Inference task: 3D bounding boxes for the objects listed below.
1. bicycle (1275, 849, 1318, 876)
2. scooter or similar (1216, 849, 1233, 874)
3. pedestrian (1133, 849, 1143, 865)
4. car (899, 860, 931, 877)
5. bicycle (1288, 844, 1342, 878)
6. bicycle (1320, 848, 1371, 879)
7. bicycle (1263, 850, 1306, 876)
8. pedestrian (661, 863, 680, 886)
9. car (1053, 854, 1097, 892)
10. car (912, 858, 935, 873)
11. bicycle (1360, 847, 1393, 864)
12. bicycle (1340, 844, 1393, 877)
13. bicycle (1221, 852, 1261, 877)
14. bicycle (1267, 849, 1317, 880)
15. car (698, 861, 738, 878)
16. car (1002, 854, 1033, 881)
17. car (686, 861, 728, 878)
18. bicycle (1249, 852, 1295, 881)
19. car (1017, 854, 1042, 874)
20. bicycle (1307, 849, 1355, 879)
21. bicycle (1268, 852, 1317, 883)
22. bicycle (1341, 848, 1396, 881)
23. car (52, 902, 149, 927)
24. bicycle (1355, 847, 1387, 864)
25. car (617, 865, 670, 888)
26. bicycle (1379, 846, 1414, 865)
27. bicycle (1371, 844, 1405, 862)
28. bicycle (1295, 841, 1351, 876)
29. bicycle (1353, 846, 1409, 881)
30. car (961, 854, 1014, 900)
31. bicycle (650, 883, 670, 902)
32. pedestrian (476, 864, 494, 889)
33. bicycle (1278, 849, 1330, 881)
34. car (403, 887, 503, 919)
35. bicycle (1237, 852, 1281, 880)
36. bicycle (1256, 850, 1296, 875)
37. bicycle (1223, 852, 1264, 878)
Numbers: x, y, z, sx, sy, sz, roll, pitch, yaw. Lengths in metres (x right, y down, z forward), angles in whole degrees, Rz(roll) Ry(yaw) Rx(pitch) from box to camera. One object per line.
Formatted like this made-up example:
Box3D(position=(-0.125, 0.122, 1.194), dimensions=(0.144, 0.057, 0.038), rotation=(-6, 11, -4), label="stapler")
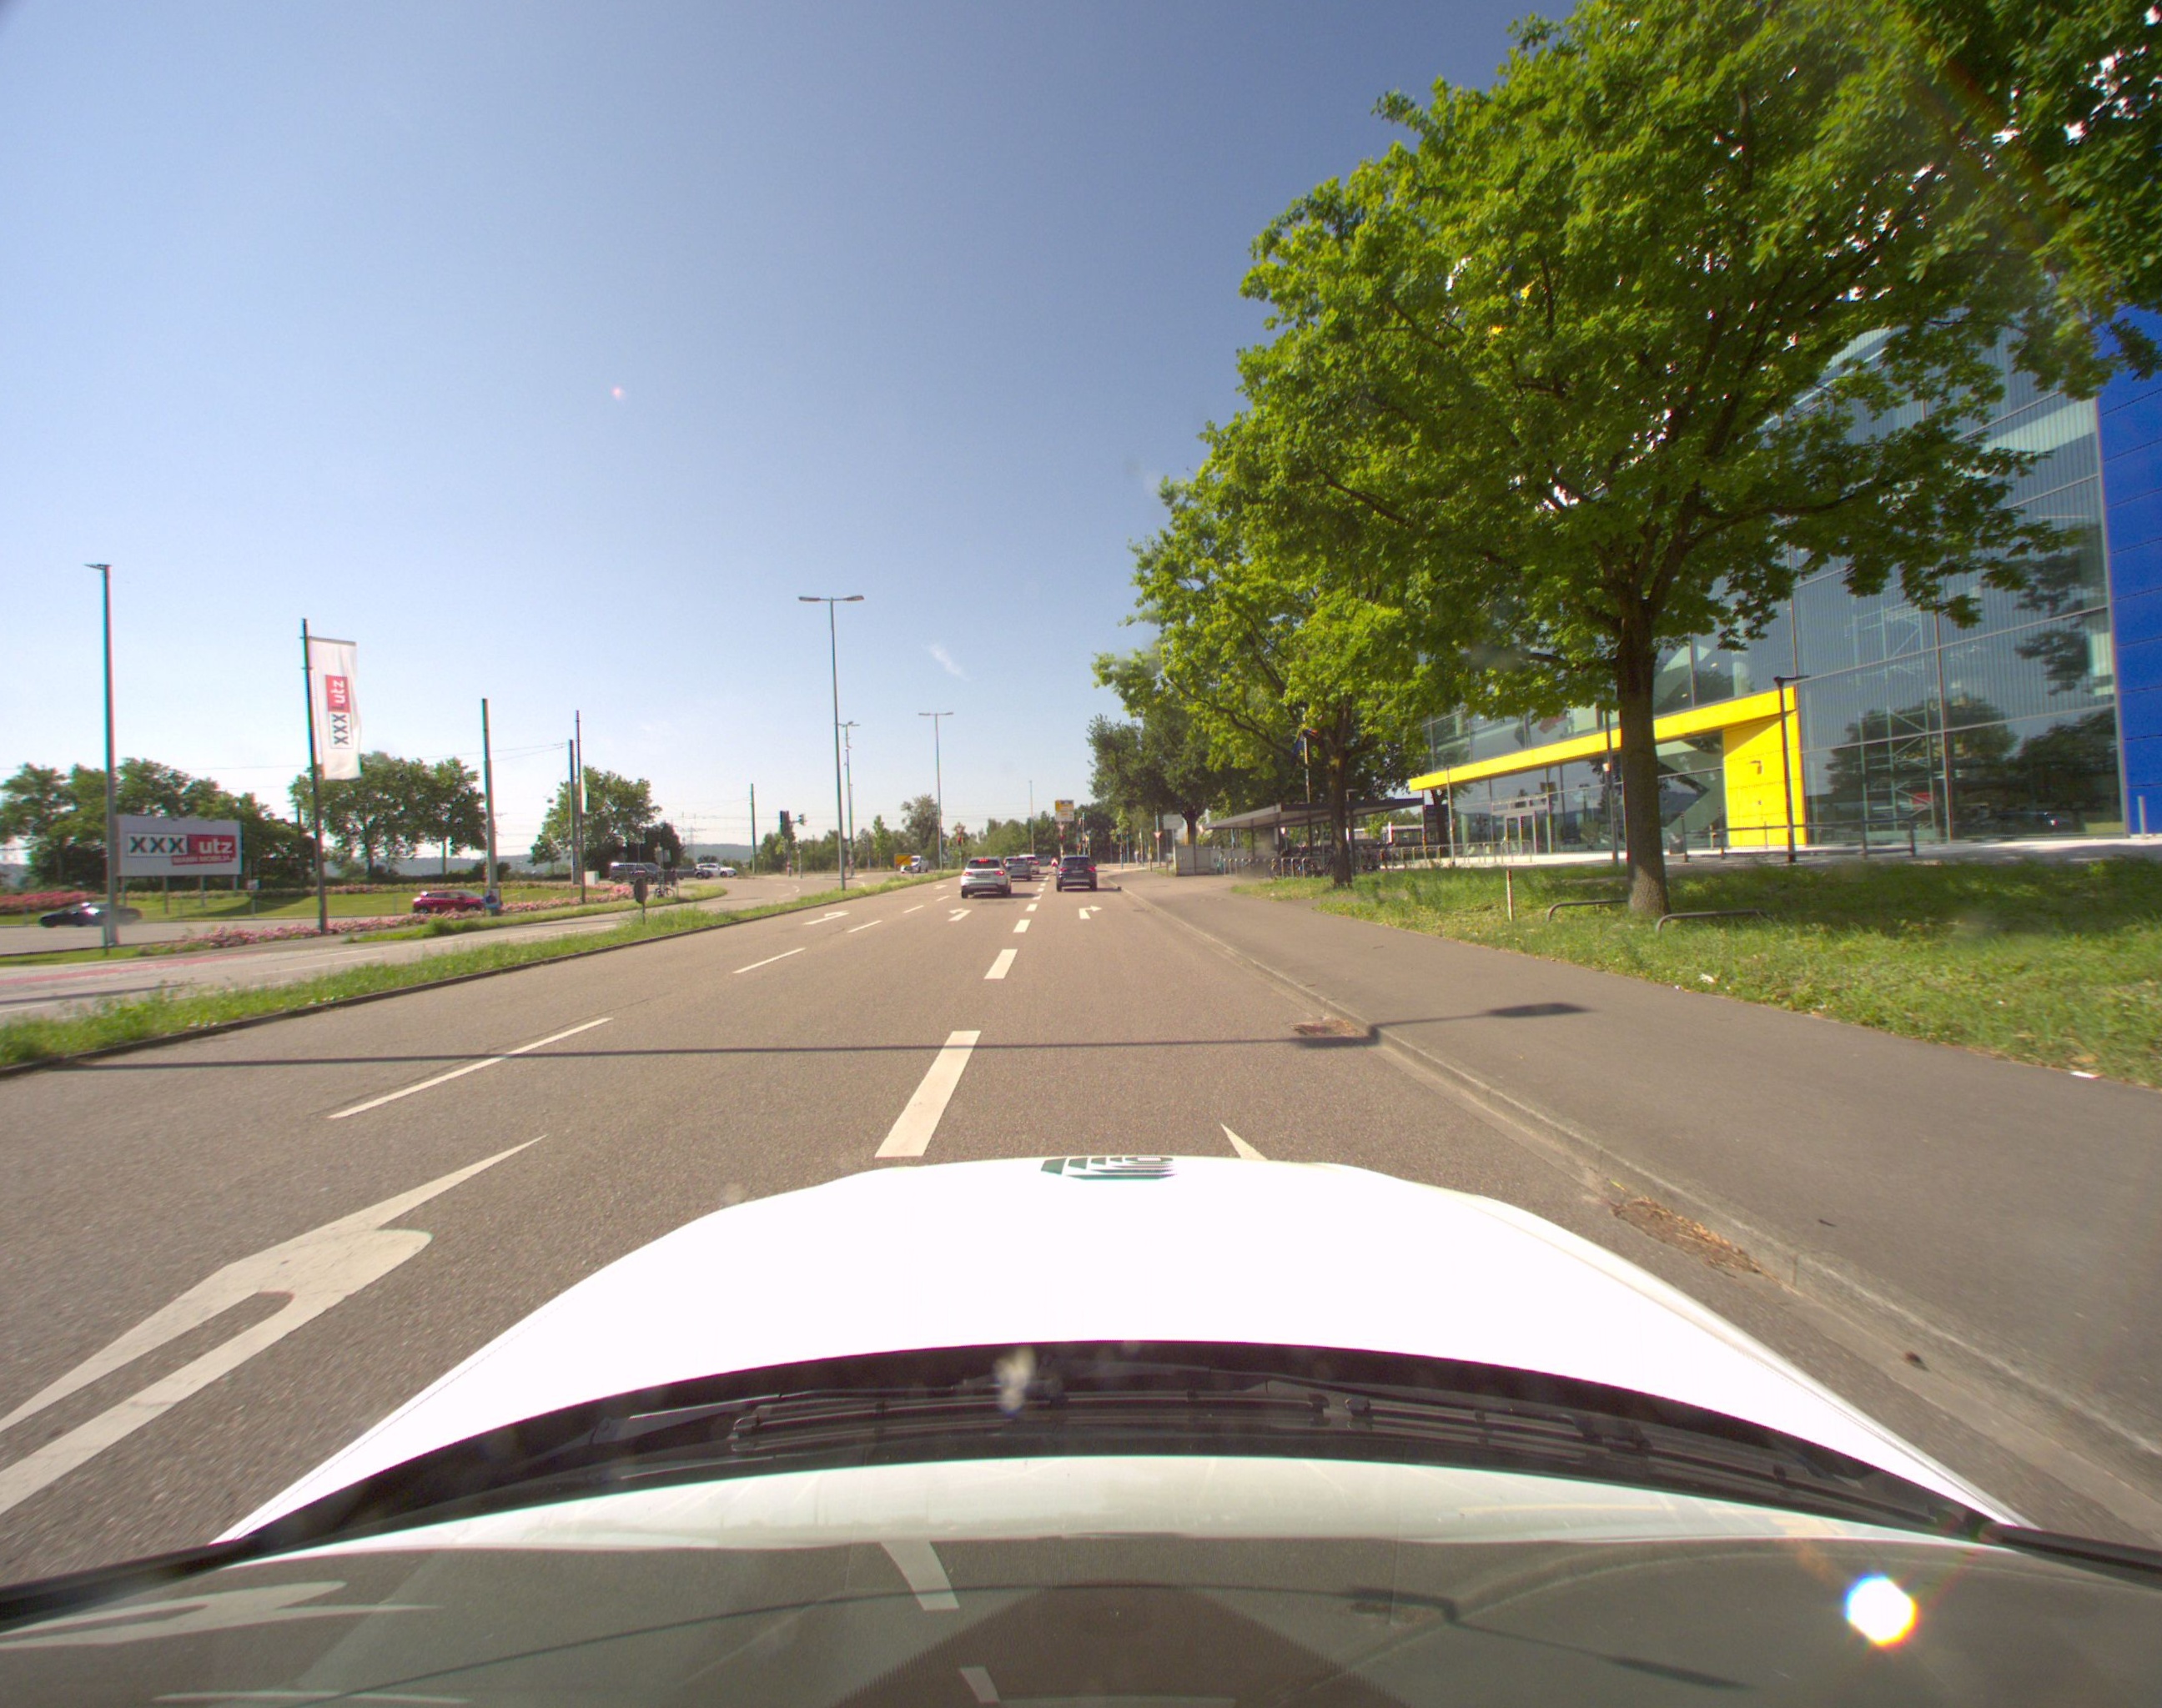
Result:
Box3D(position=(9.574, 0.381, 36.193), dimensions=(1.754, 1.096, 0.452), rotation=(-3, 0, -2), label="bicycle")
Box3D(position=(7.493, 0.392, 42.478), dimensions=(0.775, 1.265, 0.283), rotation=(-3, 0, -5), label="scooter or similar")
Box3D(position=(5.551, 0.318, 79.507), dimensions=(0.768, 1.510, 1.010), rotation=(-3, 1, 9), label="pedestrian")
Box3D(position=(-15.963, 1.412, 78.549), dimensions=(1.784, 1.547, 4.095), rotation=(-2, -1, 8), label="car")
Box3D(position=(8.326, 0.247, 28.962), dimensions=(1.754, 1.096, 0.463), rotation=(-3, 0, -2), label="bicycle")
Box3D(position=(10.195, 0.348, 31.398), dimensions=(1.754, 1.096, 0.452), rotation=(-3, 0, -2), label="bicycle")
Box3D(position=(9.388, 0.401, 37.515), dimensions=(1.824, 1.096, 0.452), rotation=(-3, 0, -2), label="bicycle")
Box3D(position=(-31.905, 1.600, 63.329), dimensions=(0.834, 1.707, 0.908), rotation=(-3, 0, 10), label="pedestrian")
Box3D(position=(-0.306, 0.786, 35.317), dimensions=(1.666, 1.523, 3.372), rotation=(-2, 0, -4), label="car")
Box3D(position=(-11.204, 0.819, 58.079), dimensions=(1.114, 1.004, 2.492), rotation=(-3, 0, 0), label="car")
Box3D(position=(15.849, 0.082, 43.666), dimensions=(1.557, 0.843, 0.433), rotation=(-2, 0, -1), label="bicycle")
Box3D(position=(10.588, 0.238, 30.207), dimensions=(1.754, 1.096, 0.452), rotation=(-3, 0, -2), label="bicycle")
Box3D(position=(7.569, 0.479, 38.598), dimensions=(1.754, 1.096, 0.452), rotation=(-3, 0, -2), label="bicycle")
Box3D(position=(8.084, 0.394, 31.238), dimensions=(1.754, 1.096, 0.452), rotation=(-3, 0, -2), label="bicycle")
Box3D(position=(-36.737, 1.582, 82.506), dimensions=(3.339, 1.500, 1.407), rotation=(-2, -2, -6), label="car")
Box3D(position=(-3.771, 0.771, 48.955), dimensions=(1.702, 1.573, 4.170), rotation=(0, 0, -3), label="car")
Box3D(position=(-36.365, 1.502, 79.281), dimensions=(3.379, 1.500, 1.407), rotation=(-2, -2, -4), label="car")
Box3D(position=(7.941, 0.523, 33.934), dimensions=(1.754, 1.096, 0.452), rotation=(-3, 0, -2), label="bicycle")
Box3D(position=(-4.028, 0.728, 64.049), dimensions=(1.737, 1.448, 4.386), rotation=(-2, 0, -1), label="car")
Box3D(position=(10.069, 0.390, 32.841), dimensions=(1.754, 1.096, 0.452), rotation=(-3, 0, -2), label="bicycle")
Box3D(position=(8.240, 0.509, 31.712), dimensions=(1.754, 1.096, 0.452), rotation=(-3, 0, -2), label="bicycle")
Box3D(position=(10.311, 0.362, 29.224), dimensions=(1.754, 1.096, 0.452), rotation=(-3, 0, -2), label="bicycle")
Box3D(position=(-61.473, 3.786, 51.105), dimensions=(3.838, 1.330, 1.727), rotation=(-2, -2, -3), label="car")
Box3D(position=(15.820, 0.100, 44.458), dimensions=(1.557, 0.843, 0.433), rotation=(-2, 0, -1), label="bicycle")
Box3D(position=(-38.210, 1.970, 71.187), dimensions=(3.954, 1.925, 1.826), rotation=(-1, 1, 20), label="car")
Box3D(position=(15.817, 0.076, 40.892), dimensions=(1.556, 0.843, 0.433), rotation=(-2, 0, 0), label="bicycle")
Box3D(position=(15.845, -0.040, 42.010), dimensions=(1.556, 0.843, 0.433), rotation=(-2, 0, 0), label="bicycle")
Box3D(position=(8.325, 0.163, 28.027), dimensions=(1.753, 1.096, 0.452), rotation=(-3, 0, -2), label="bicycle")
Box3D(position=(10.373, 0.314, 28.162), dimensions=(1.754, 1.096, 0.452), rotation=(-3, 0, -2), label="bicycle")
Box3D(position=(-3.561, 0.837, 31.569), dimensions=(1.626, 1.498, 3.869), rotation=(-2, 2, -1), label="car")
Box3D(position=(-23.260, 2.113, 45.062), dimensions=(0.330, 1.023, 1.640), rotation=(-4, -2, -5), label="bicycle")
Box3D(position=(-48.121, 1.782, 65.733), dimensions=(0.713, 1.972, 0.918), rotation=(-2, -2, 3), label="pedestrian")
Box3D(position=(8.299, 0.392, 30.317), dimensions=(1.754, 1.096, 0.452), rotation=(-3, 0, -2), label="bicycle")
Box3D(position=(-36.297, 2.830, 47.164), dimensions=(4.178, 1.605, 1.822), rotation=(-2, -2, -7), label="car")
Box3D(position=(7.682, 0.512, 35.179), dimensions=(1.754, 1.096, 0.452), rotation=(-3, 0, -2), label="bicycle")
Box3D(position=(9.281, 0.411, 38.815), dimensions=(1.754, 1.096, 0.452), rotation=(-3, 0, -2), label="bicycle")
Box3D(position=(7.508, 0.492, 37.595), dimensions=(1.754, 1.096, 0.452), rotation=(-3, 0, -2), label="bicycle")
